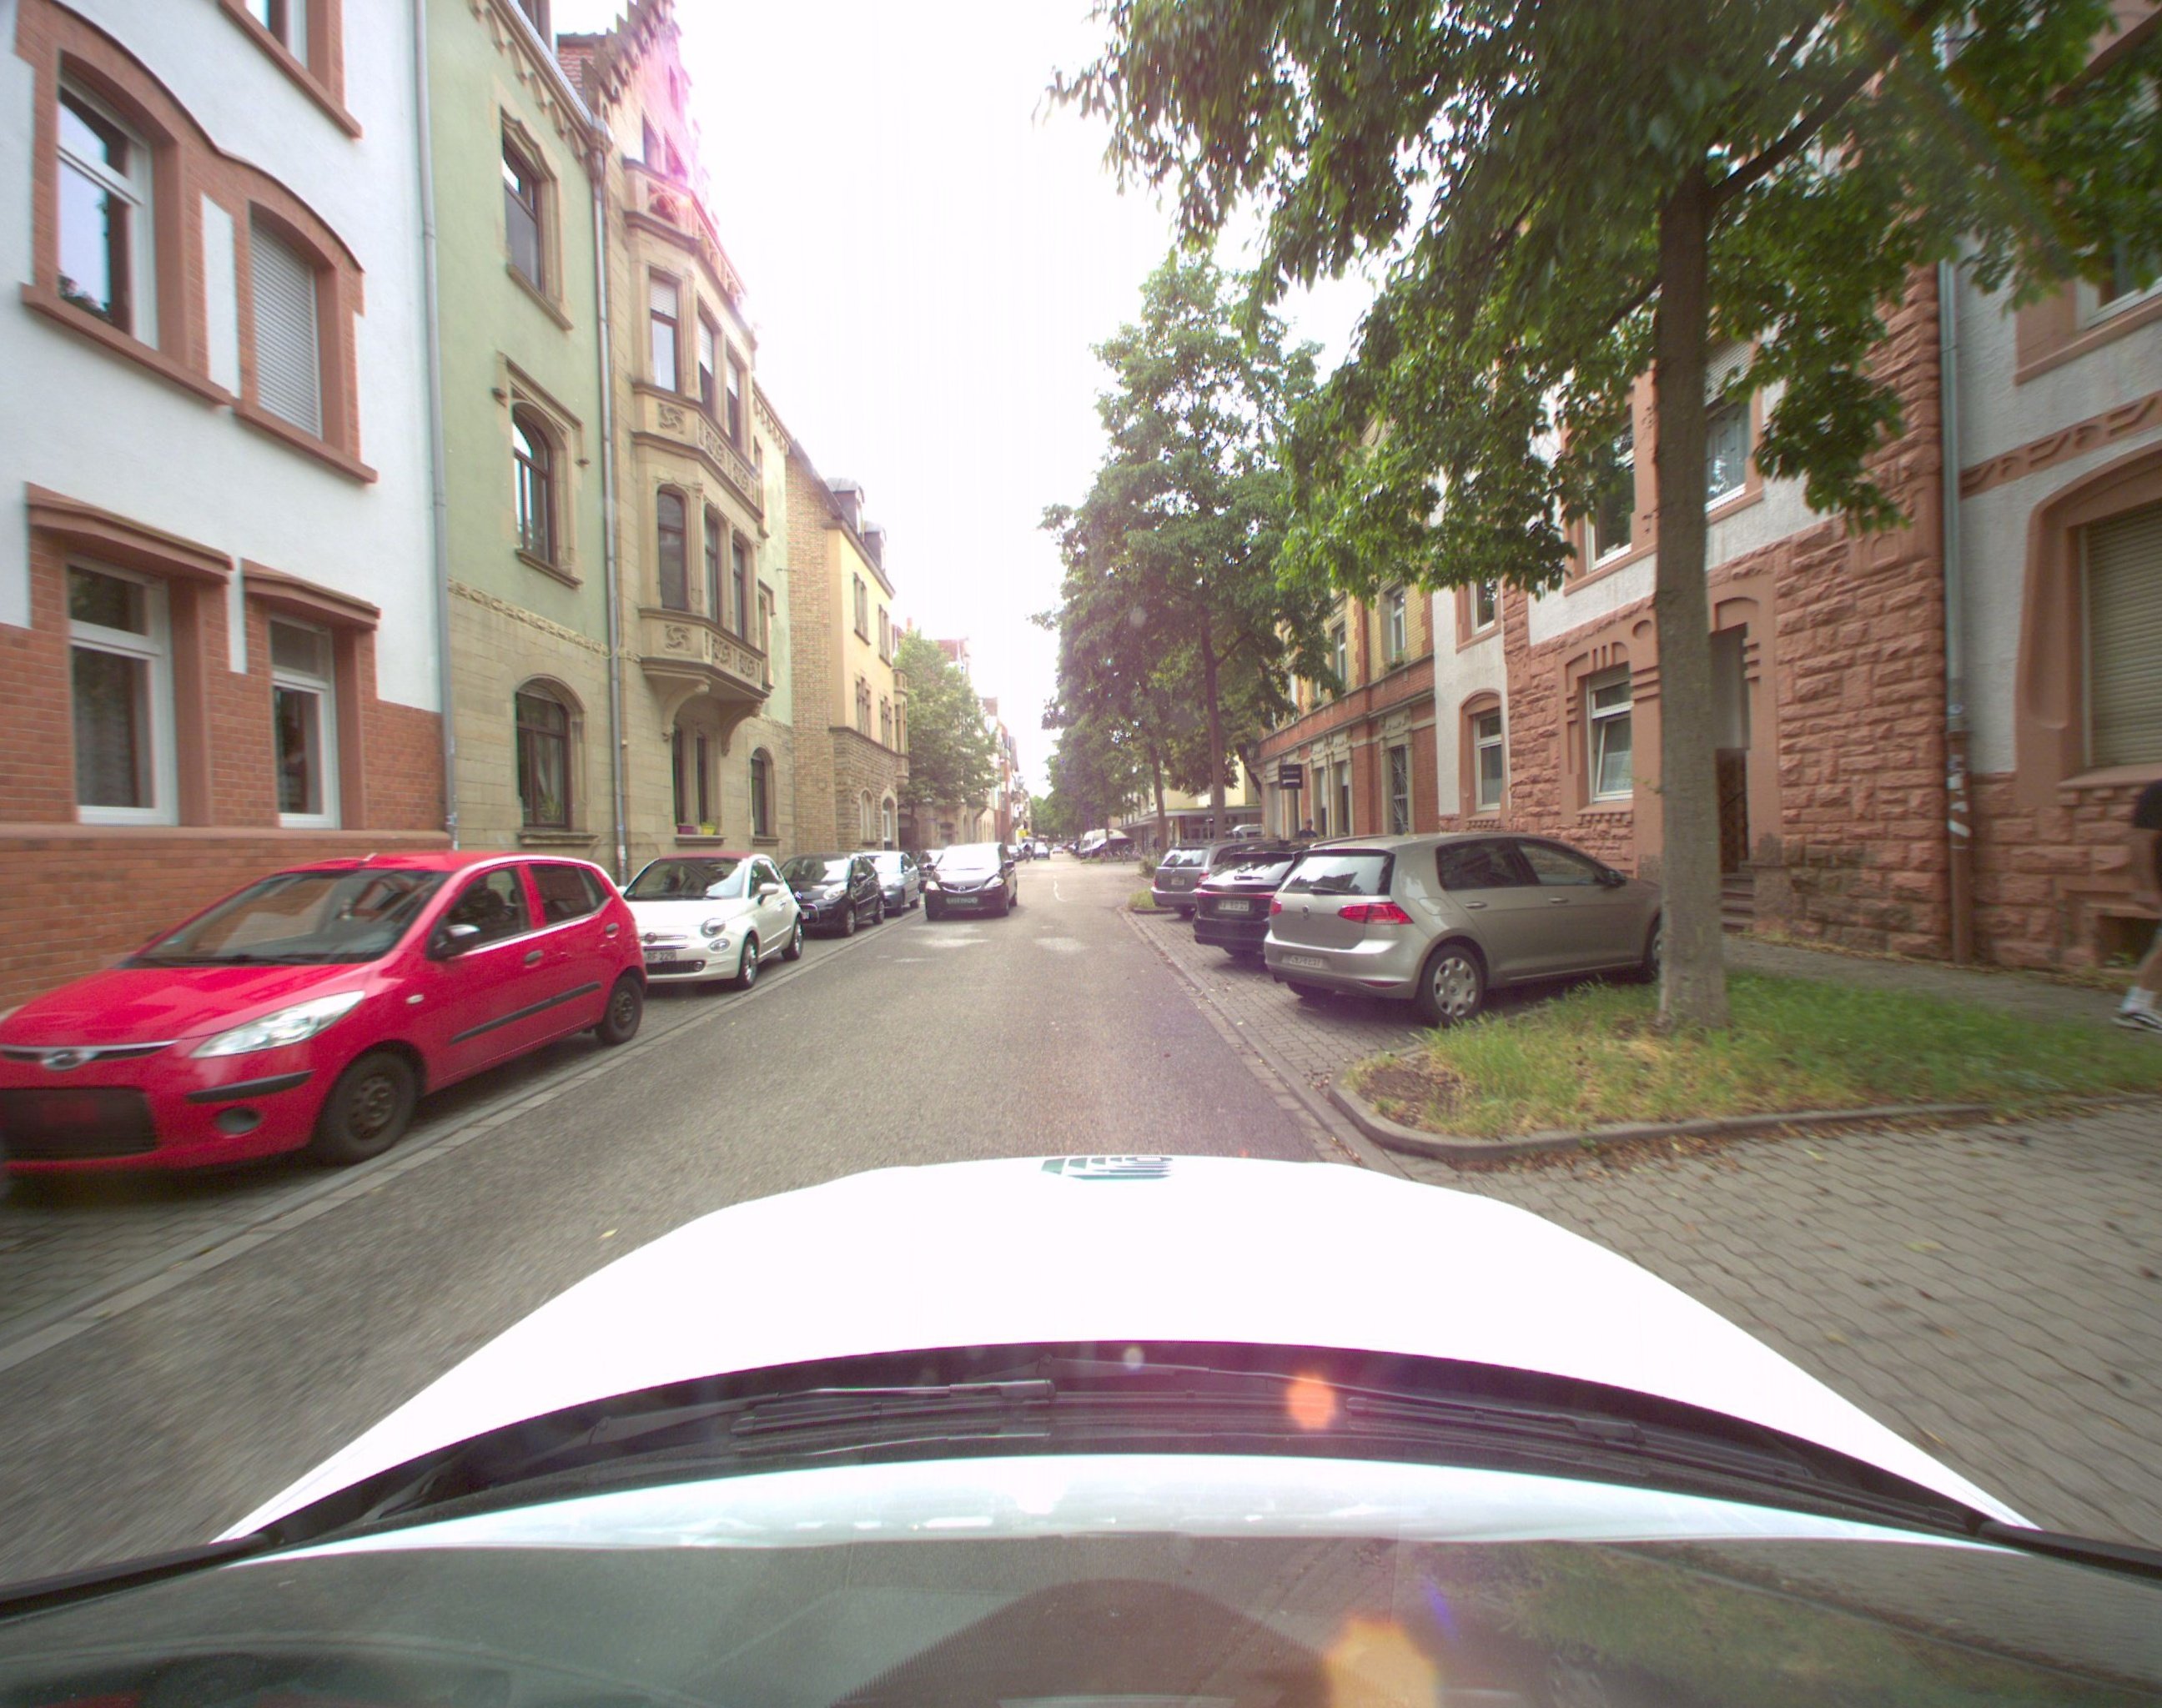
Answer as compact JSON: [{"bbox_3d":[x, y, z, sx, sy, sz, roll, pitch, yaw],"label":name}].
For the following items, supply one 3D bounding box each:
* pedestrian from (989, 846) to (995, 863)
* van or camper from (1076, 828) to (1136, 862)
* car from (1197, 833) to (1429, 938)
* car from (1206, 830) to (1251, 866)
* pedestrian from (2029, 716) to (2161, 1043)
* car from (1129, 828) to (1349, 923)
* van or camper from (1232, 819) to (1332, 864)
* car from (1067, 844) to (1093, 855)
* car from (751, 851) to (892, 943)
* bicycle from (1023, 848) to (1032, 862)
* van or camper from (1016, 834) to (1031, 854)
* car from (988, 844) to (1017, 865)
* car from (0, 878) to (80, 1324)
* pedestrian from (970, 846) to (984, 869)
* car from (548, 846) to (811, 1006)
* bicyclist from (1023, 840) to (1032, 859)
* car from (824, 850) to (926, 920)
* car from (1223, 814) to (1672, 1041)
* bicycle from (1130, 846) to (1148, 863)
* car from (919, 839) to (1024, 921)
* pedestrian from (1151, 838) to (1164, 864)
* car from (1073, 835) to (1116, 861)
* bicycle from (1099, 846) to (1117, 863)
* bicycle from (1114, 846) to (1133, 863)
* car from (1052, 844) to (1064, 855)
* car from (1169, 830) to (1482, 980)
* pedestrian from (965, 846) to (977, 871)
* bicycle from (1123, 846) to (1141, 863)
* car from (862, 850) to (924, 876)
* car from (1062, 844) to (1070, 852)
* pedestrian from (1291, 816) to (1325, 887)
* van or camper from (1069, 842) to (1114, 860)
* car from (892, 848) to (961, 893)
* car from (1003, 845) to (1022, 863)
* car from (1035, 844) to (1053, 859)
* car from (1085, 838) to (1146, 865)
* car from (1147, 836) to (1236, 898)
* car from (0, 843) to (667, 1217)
[{"bbox_3d":[-8.110,0.064,74.183,0.514,1.518,0.546,-2,0,-2],"label":"pedestrian"},{"bbox_3d":[2.047,-0.754,65.819,4.616,2.595,1.891,-2,1,-34],"label":"van or camper"},{"bbox_3d":[3.972,0.423,13.684,3.902,1.435,1.727,-3,2,-37],"label":"car"},{"bbox_3d":[8.169,-0.339,45.447,1.764,1.819,4.001,-3,1,1],"label":"car"},{"bbox_3d":[6.333,0.134,4.726,0.699,1.811,0.817,-1,1,-1],"label":"pedestrian"},{"bbox_3d":[3.210,0.345,16.010,4.468,1.427,1.738,-5,1,-39],"label":"car"},{"bbox_3d":[12.501,-0.824,50.997,5.743,2.493,2.140,-2,4,5],"label":"van or camper"},{"bbox_3d":[-0.156,-0.728,134.034,4.038,1.559,1.865,-2,0,-33],"label":"car"},{"bbox_3d":[-4.619,0.685,14.969,1.513,1.434,3.454,0,1,-1],"label":"car"},{"bbox_3d":[-4.487,0.086,68.231,0.631,1.094,1.799,-2,0,1],"label":"bicycle"},{"bbox_3d":[-8.527,-1.581,121.748,2.003,2.650,5.315,0,4,-2],"label":"van or camper"},{"bbox_3d":[-5.751,0.040,60.093,1.704,1.494,3.999,-1,-1,0],"label":"car"},{"bbox_3d":[-4.149,0.833,0.818,1.461,1.416,3.916,0,1,-1],"label":"car"},{"bbox_3d":[-7.225,0.224,56.345,0.623,1.593,0.674,-1,1,39],"label":"pedestrian"},{"bbox_3d":[-4.528,0.684,9.804,1.664,1.511,3.547,-1,1,-6],"label":"car"},{"bbox_3d":[-4.503,-0.400,68.236,0.645,1.538,0.677,-3,0,0],"label":"bicyclist"},{"bbox_3d":[-4.770,0.650,19.339,1.585,1.434,3.806,0,1,-3],"label":"car"},{"bbox_3d":[3.226,0.474,7.215,3.474,1.563,1.772,-2,1,-24],"label":"car"},{"bbox_3d":[4.099,0.033,57.671,0.551,1.173,1.684,-2,1,-23],"label":"bicycle"},{"bbox_3d":[-2.381,0.499,18.743,1.804,1.630,4.207,-2,1,0],"label":"car"},{"bbox_3d":[5.302,-0.212,56.543,0.776,1.797,0.509,-1,1,0],"label":"pedestrian"},{"bbox_3d":[1.248,-0.550,74.658,2.041,2.196,4.426,-1,1,28],"label":"car"},{"bbox_3d":[1.850,0.041,56.112,0.551,1.173,1.715,-2,1,-23],"label":"bicycle"},{"bbox_3d":[2.973,0.037,56.910,0.551,1.173,1.715,-2,1,-23],"label":"bicycle"},{"bbox_3d":[-3.826,-0.727,135.804,1.988,1.794,3.998,0,-1,-1],"label":"car"},{"bbox_3d":[3.075,0.497,10.044,3.708,1.466,1.688,-2,1,-33],"label":"car"},{"bbox_3d":[-7.476,0.291,55.457,0.612,1.643,0.605,-1,1,10],"label":"pedestrian"},{"bbox_3d":[3.565,0.034,57.214,0.551,1.173,1.715,-2,1,-23],"label":"bicycle"},{"bbox_3d":[-12.324,0.572,53.456,3.549,1.460,1.653,-3,2,7],"label":"car"},{"bbox_3d":[-3.733,-1.535,204.354,1.988,2.013,3.997,1,0,-2],"label":"car"},{"bbox_3d":[5.706,-0.054,20.478,0.596,1.733,0.663,-2,1,-3],"label":"pedestrian"},{"bbox_3d":[1.317,-0.430,100.344,5.037,1.869,2.107,-4,1,-30],"label":"van or camper"},{"bbox_3d":[-5.363,0.526,28.709,1.722,1.434,3.880,0,1,-1],"label":"car"},{"bbox_3d":[-6.293,-0.059,74.822,1.642,1.570,2.954,0,1,-3],"label":"car"},{"bbox_3d":[-3.769,-0.257,83.361,1.703,1.413,3.850,-3,0,-1],"label":"car"},{"bbox_3d":[2.681,-0.225,63.708,4.356,1.854,1.894,-3,1,-27],"label":"car"},{"bbox_3d":[3.062,0.311,23.475,1.759,1.486,4.477,-4,1,-2],"label":"car"},{"bbox_3d":[-4.253,0.711,5.177,1.461,1.530,3.566,0,1,-2],"label":"car"}]
